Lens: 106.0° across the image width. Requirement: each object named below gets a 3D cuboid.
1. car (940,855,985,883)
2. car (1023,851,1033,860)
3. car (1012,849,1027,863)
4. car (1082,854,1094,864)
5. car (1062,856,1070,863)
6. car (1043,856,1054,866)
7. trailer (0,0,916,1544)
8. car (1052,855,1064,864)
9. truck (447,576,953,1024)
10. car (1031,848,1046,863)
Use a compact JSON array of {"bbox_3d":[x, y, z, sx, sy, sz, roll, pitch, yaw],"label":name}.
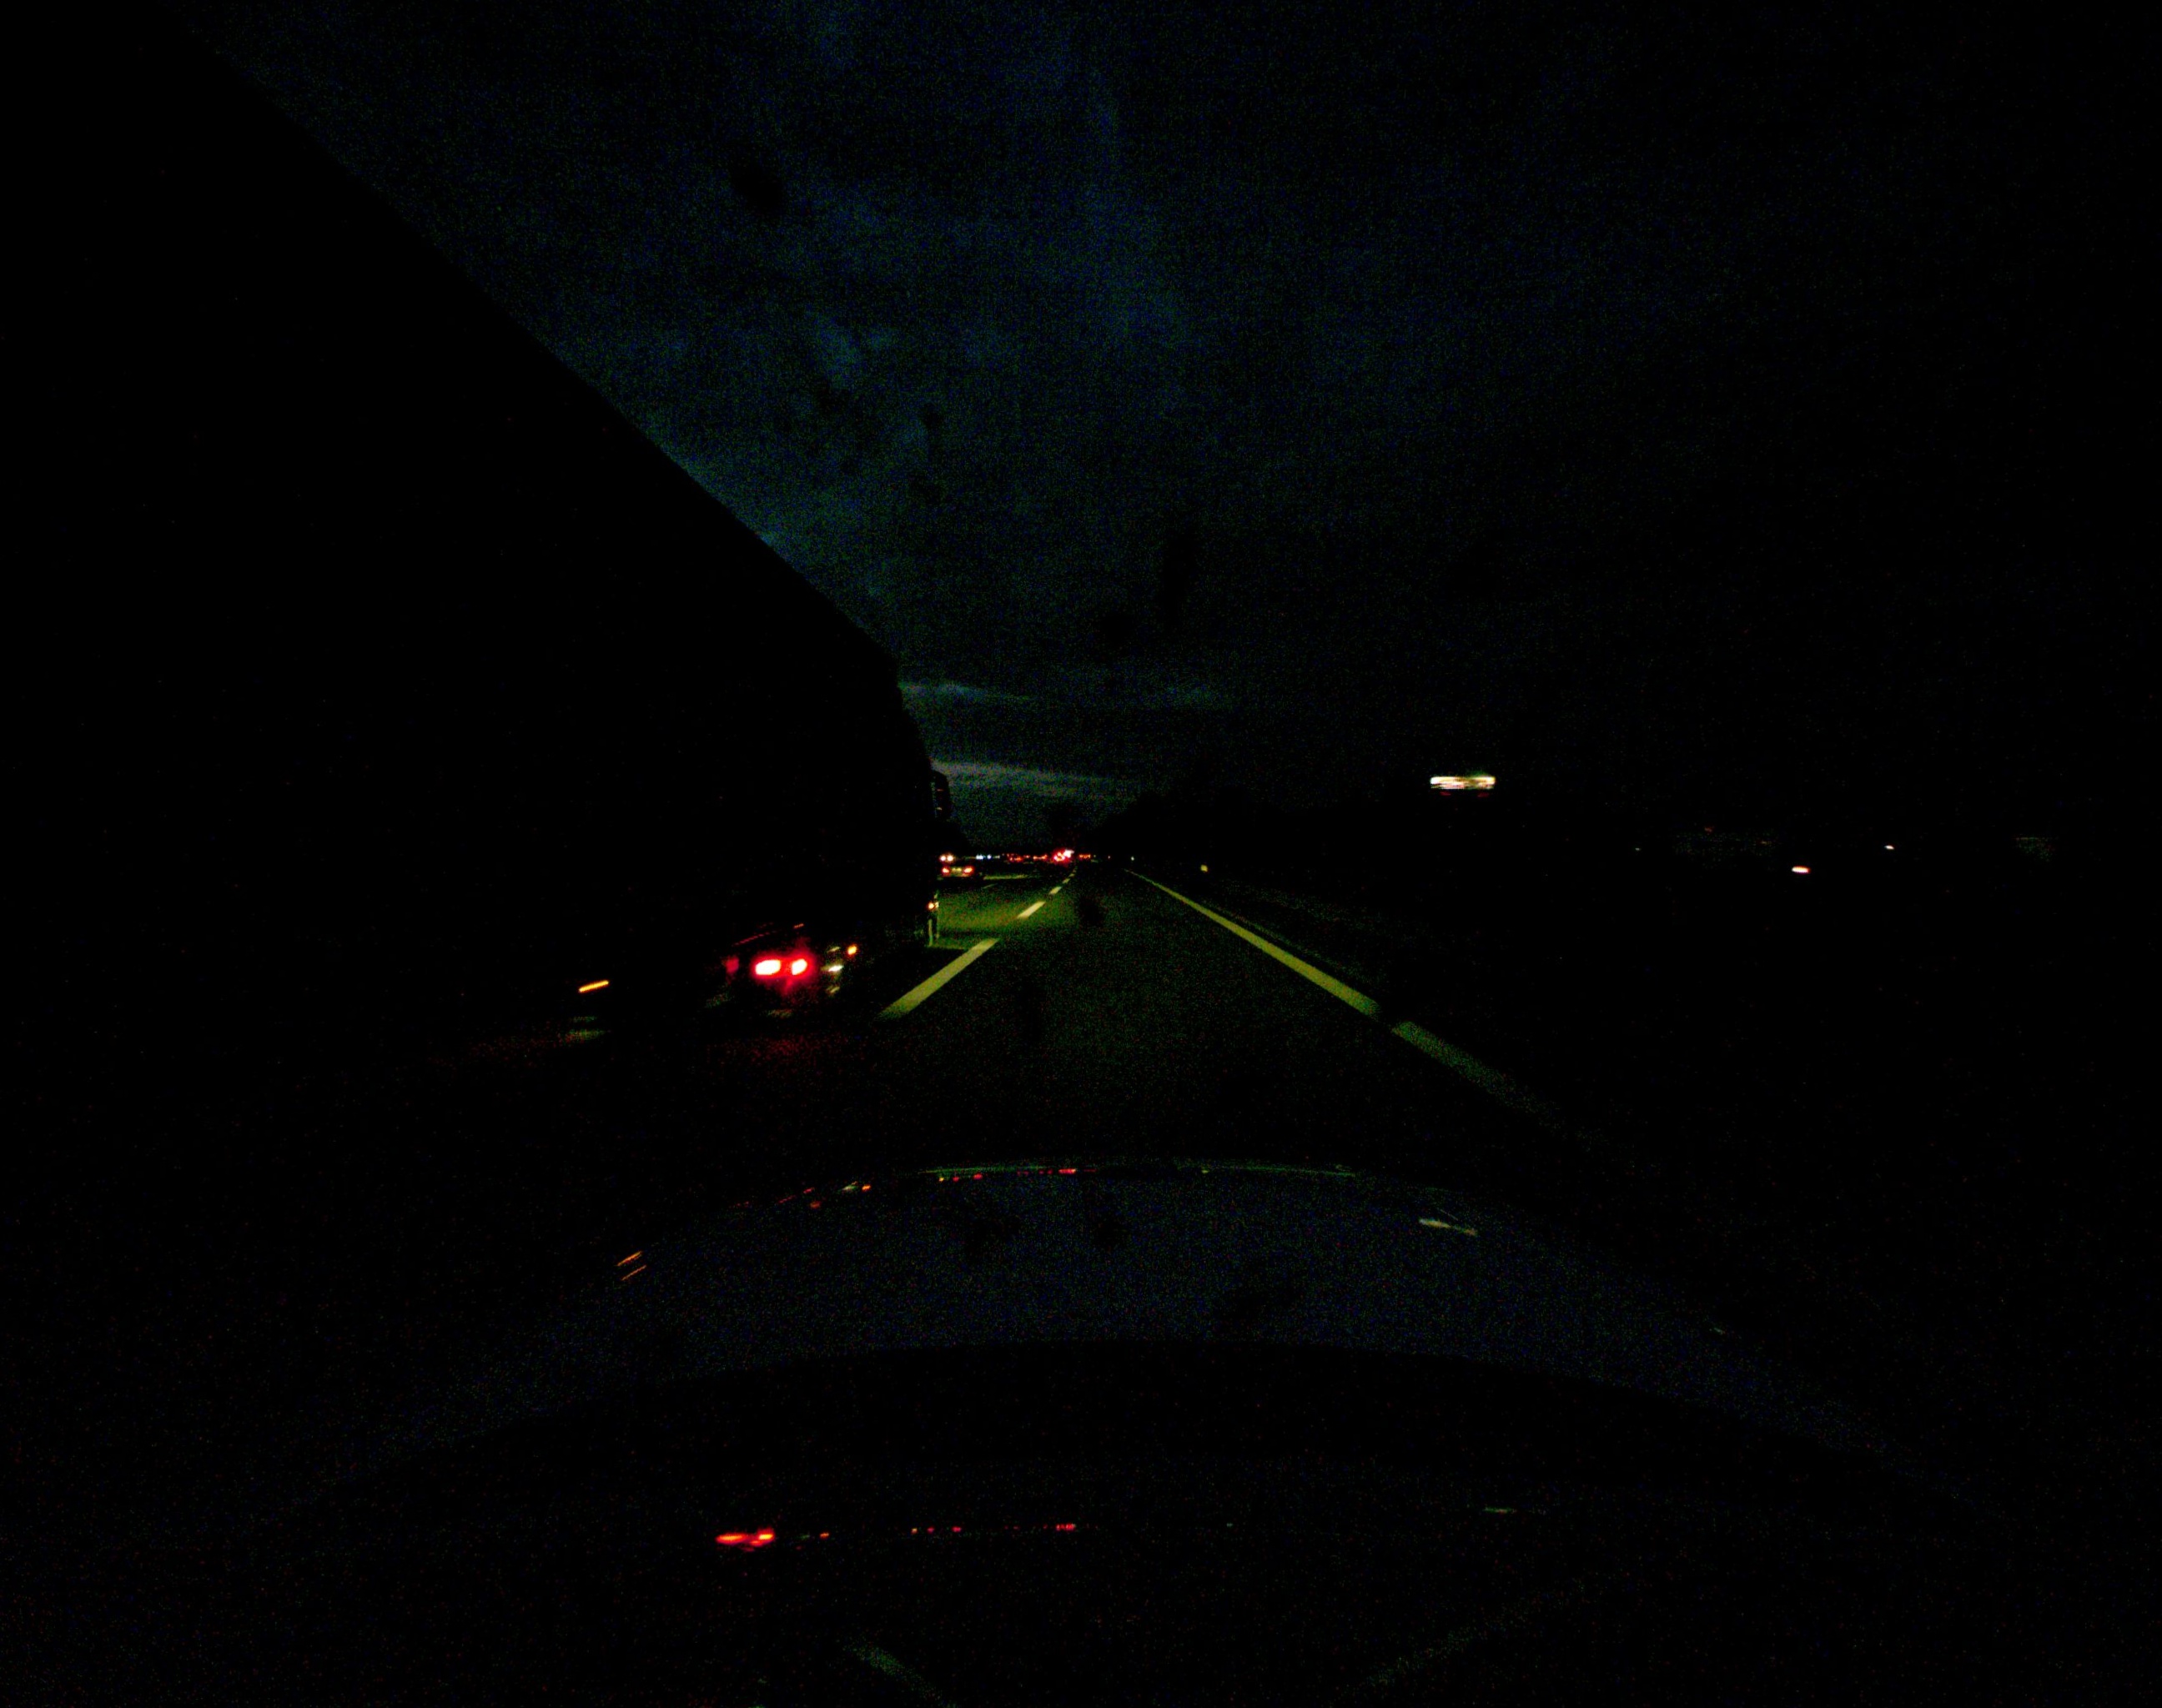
[{"bbox_3d":[-6.723,0.846,46.585,1.892,1.494,4.151,0,-1,1],"label":"car"},{"bbox_3d":[-12.993,0.278,201.015,1.986,2.014,4.001,0,-3,2],"label":"car"},{"bbox_3d":[-9.991,0.352,131.602,1.986,2.047,4.000,0,-3,1],"label":"car"},{"bbox_3d":[1.189,0.848,134.915,1.986,1.354,4.000,0,-3,1],"label":"car"},{"bbox_3d":[-4.461,1.560,242.654,1.986,2.014,4.000,0,-3,1],"label":"car"},{"bbox_3d":[-6.737,1.423,169.084,1.984,2.014,4.004,0,-3,4],"label":"car"},{"bbox_3d":[-4.169,-0.499,3.396,3.537,4.116,15.066,-1,0,1],"label":"trailer"},{"bbox_3d":[-4.046,0.961,145.399,1.878,1.354,4.000,0,-3,1],"label":"car"},{"bbox_3d":[-4.011,-0.497,10.604,3.538,4.091,6.152,-1,0,1],"label":"truck"},{"bbox_3d":[-6.755,0.244,129.394,1.986,2.080,4.000,0,-3,1],"label":"car"}]
